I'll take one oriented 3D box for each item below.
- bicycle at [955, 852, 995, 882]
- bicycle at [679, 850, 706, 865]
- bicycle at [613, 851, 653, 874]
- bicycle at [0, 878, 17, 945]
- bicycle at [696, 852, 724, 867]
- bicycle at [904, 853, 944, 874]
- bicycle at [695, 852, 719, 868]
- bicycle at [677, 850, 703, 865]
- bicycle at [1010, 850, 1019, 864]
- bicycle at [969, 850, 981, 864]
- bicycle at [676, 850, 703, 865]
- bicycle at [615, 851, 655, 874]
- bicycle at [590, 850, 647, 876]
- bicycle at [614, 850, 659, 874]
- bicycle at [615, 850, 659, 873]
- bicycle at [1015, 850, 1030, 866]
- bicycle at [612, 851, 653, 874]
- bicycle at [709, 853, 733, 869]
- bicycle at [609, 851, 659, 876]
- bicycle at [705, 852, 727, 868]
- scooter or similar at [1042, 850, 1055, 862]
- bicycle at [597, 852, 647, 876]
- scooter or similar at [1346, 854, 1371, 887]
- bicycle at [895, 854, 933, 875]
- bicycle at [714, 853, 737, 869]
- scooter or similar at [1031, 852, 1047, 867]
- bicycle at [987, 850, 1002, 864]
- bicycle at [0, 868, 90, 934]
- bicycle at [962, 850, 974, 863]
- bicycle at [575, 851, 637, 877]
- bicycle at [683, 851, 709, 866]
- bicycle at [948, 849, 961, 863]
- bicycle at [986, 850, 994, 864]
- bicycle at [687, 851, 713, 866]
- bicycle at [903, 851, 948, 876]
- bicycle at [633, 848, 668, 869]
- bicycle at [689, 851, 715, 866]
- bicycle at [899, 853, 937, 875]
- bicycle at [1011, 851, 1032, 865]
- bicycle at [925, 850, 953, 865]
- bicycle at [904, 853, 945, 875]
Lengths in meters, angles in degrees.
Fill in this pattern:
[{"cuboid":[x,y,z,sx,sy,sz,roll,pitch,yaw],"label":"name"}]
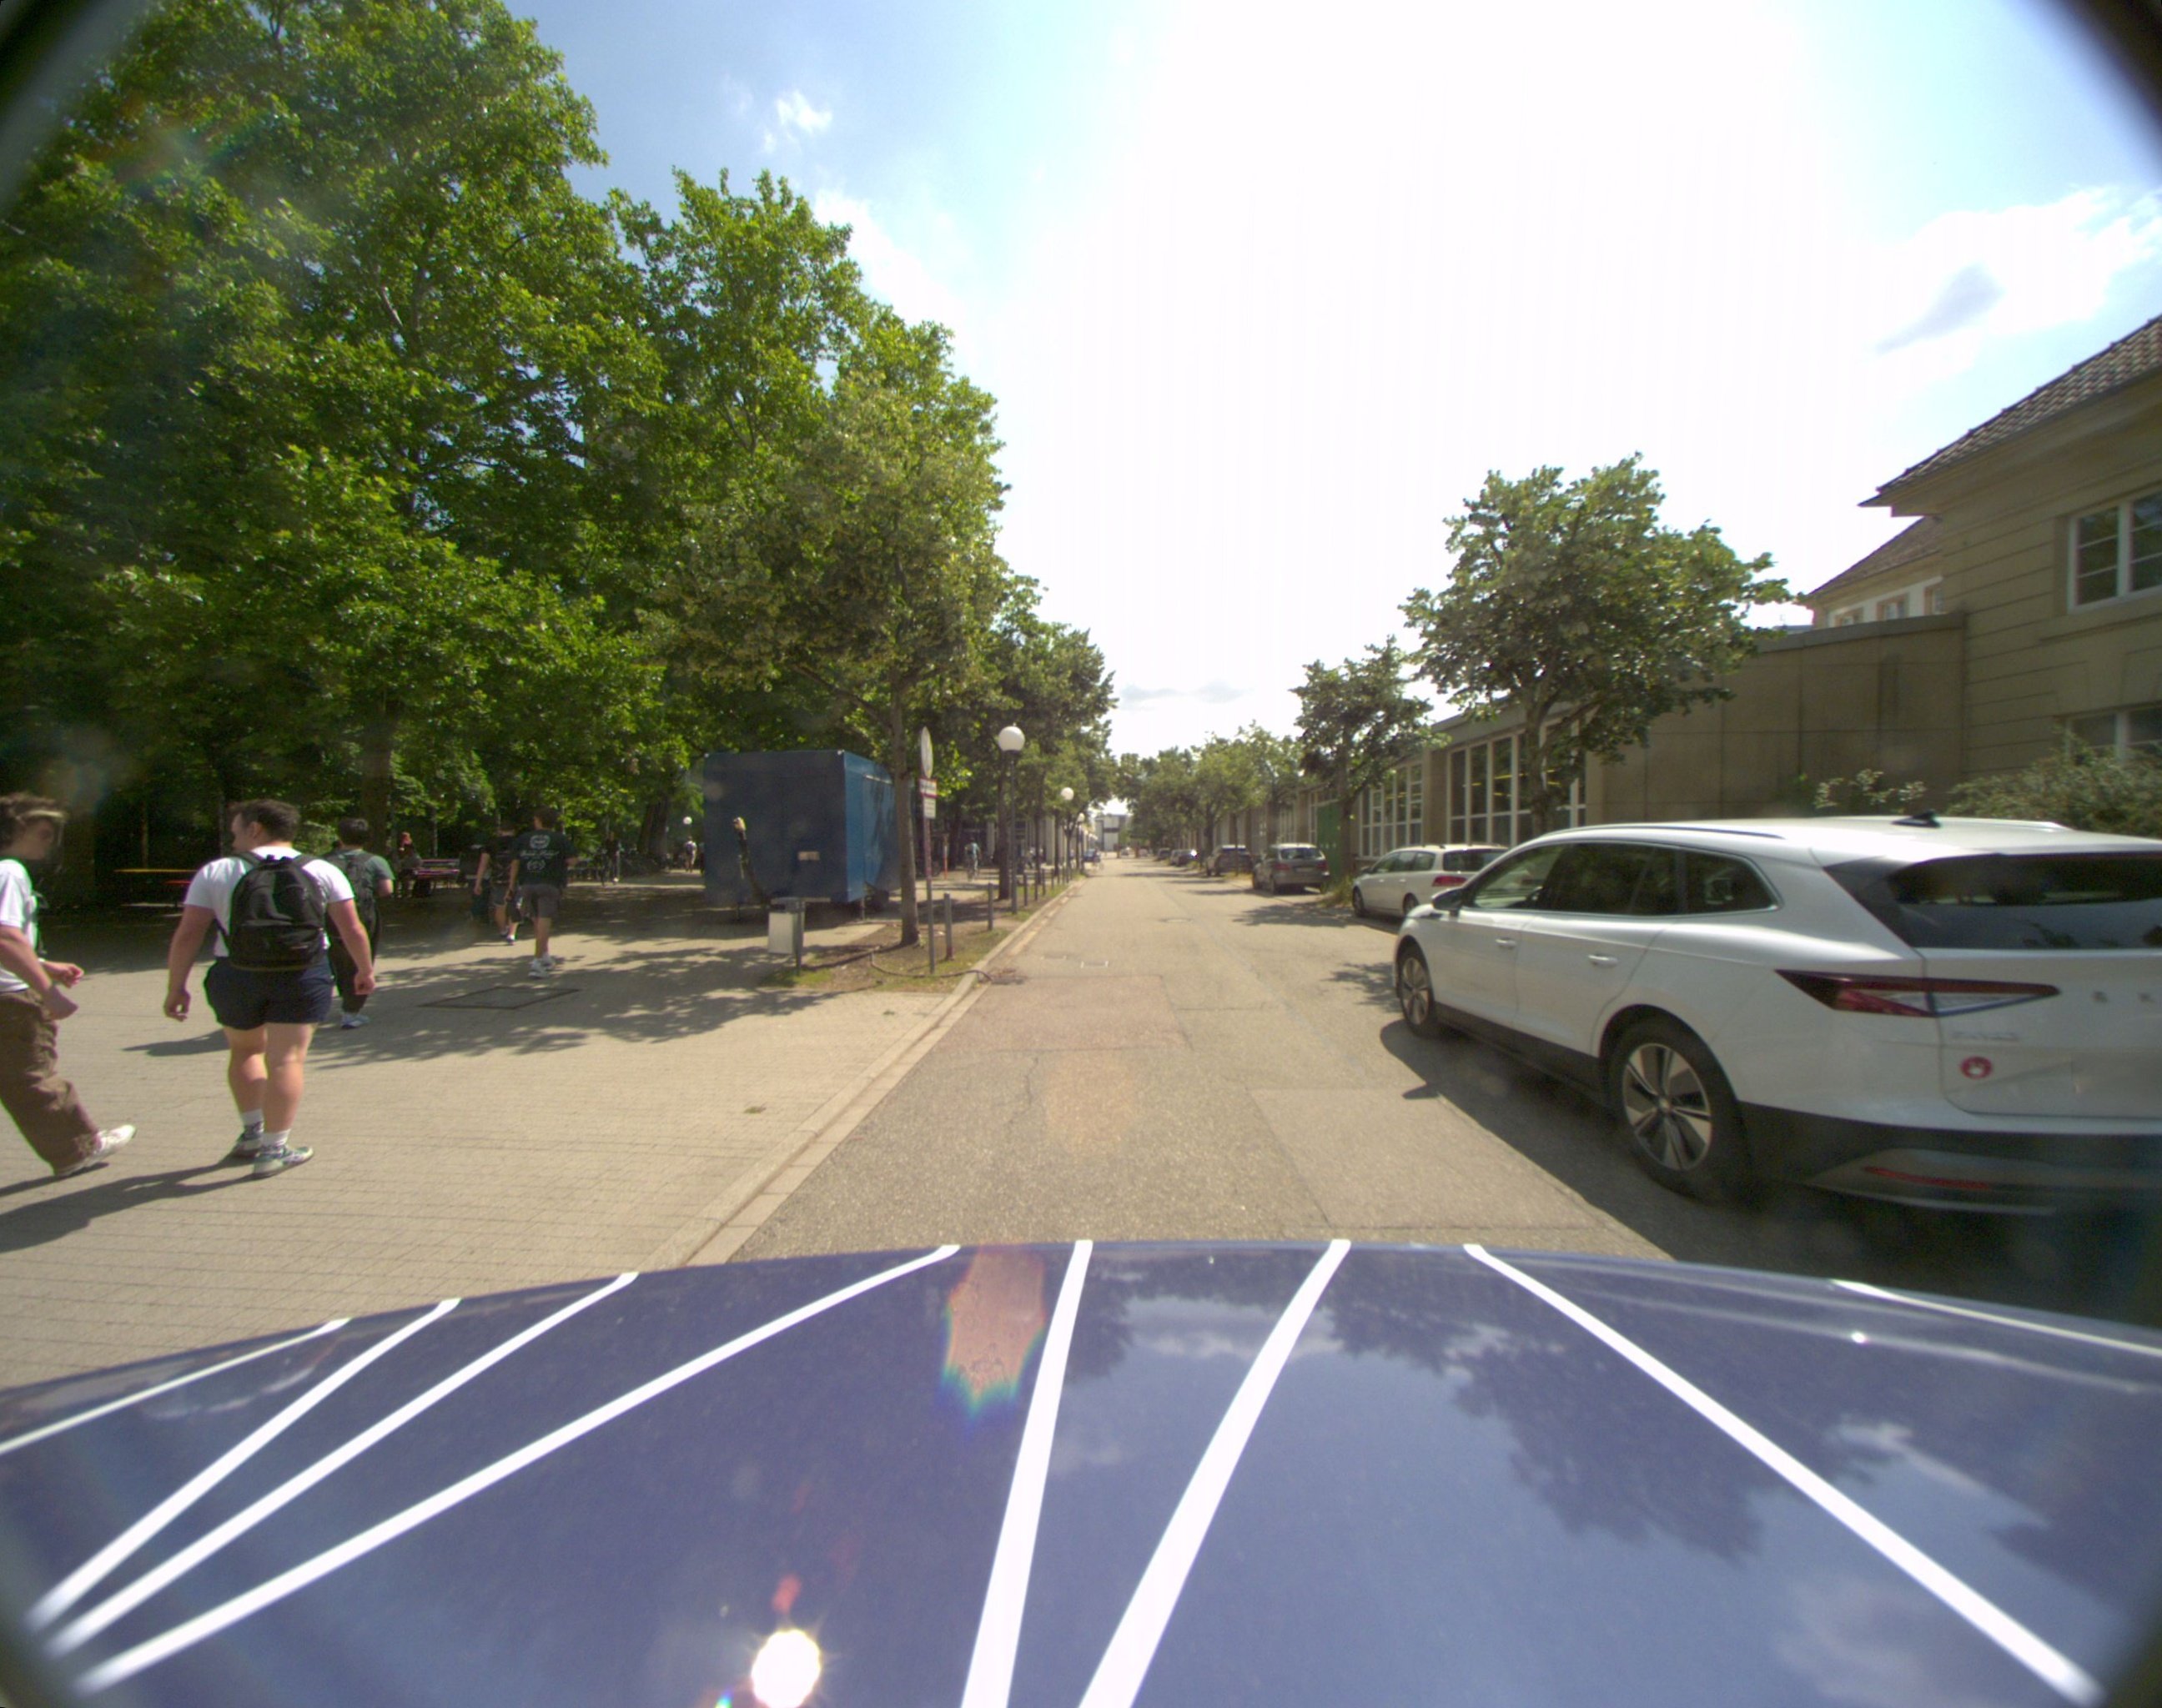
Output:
[{"cuboid":[-4.296,0.501,30.945,0.651,1.117,2.299,3,1,17],"label":"bicycle"},{"cuboid":[-29.408,0.283,57.509,0.477,1.077,1.691,-3,0,42],"label":"bicycle"},{"cuboid":[-21.377,0.400,36.250,1.612,1.087,0.347,1,1,-16],"label":"bicycle"},{"cuboid":[-18.555,0.932,12.162,2.400,1.066,0.783,0,2,10],"label":"bicycle"},{"cuboid":[-26.894,0.401,55.130,1.691,1.077,0.477,-2,0,-43],"label":"bicycle"},{"cuboid":[-7.900,0.468,38.196,1.950,1.076,0.404,0,1,-9],"label":"bicycle"},{"cuboid":[-26.777,0.405,54.418,0.352,1.077,1.475,-3,0,32],"label":"bicycle"},{"cuboid":[-30.187,0.250,58.669,0.477,1.077,1.691,-3,0,42],"label":"bicycle"},{"cuboid":[-5.418,0.259,62.152,0.561,1.135,1.489,2,1,0],"label":"bicycle"},{"cuboid":[-8.736,0.244,62.664,0.481,1.079,1.516,2,-1,8],"label":"bicycle"},{"cuboid":[-29.781,0.267,57.832,0.477,1.077,1.691,-3,0,42],"label":"bicycle"},{"cuboid":[-21.478,0.395,36.596,1.612,1.087,0.347,1,1,-16],"label":"bicycle"},{"cuboid":[-18.929,0.389,31.122,1.961,1.033,0.434,1,1,-16],"label":"bicycle"},{"cuboid":[-20.720,0.369,35.418,1.755,1.087,0.477,1,1,-23],"label":"bicycle"},{"cuboid":[-20.859,0.364,35.737,1.755,1.087,0.477,1,1,-23],"label":"bicycle"},{"cuboid":[-4.326,0.312,55.839,0.629,1.078,1.684,-2,4,-20],"label":"bicycle"},{"cuboid":[-21.390,0.399,36.245,1.612,1.087,0.347,1,1,-16],"label":"bicycle"},{"cuboid":[-25.530,0.462,53.923,0.352,1.077,1.475,-3,0,44],"label":"bicycle"},{"cuboid":[-18.982,0.415,32.268,1.786,1.033,0.434,1,1,-18],"label":"bicycle"},{"cuboid":[-26.216,0.432,54.624,0.352,1.077,1.474,-3,0,29],"label":"bicycle"},{"cuboid":[-3.439,0.197,80.065,0.566,1.205,1.506,-2,4,-37],"label":"scooter or similar"},{"cuboid":[-19.818,0.432,32.839,1.786,1.033,0.478,1,1,-18],"label":"bicycle"},{"cuboid":[10.100,0.579,27.661,0.506,1.162,1.215,-2,1,3],"label":"scooter or similar"},{"cuboid":[-8.582,0.529,39.091,1.915,1.053,0.325,0,1,-20],"label":"bicycle"},{"cuboid":[-24.711,0.467,52.829,0.352,1.077,1.475,-3,0,36],"label":"bicycle"},{"cuboid":[-3.109,0.398,56.293,0.496,1.107,1.365,1,-1,28],"label":"scooter or similar"},{"cuboid":[-7.084,0.252,62.201,0.491,1.134,1.529,1,-1,22],"label":"bicycle"},{"cuboid":[-18.758,0.816,13.327,2.399,1.066,0.784,-1,1,15],"label":"bicycle"},{"cuboid":[-9.243,0.220,62.403,0.481,1.079,1.698,2,-1,8],"label":"bicycle"},{"cuboid":[-18.628,0.400,29.840,1.961,0.973,0.612,1,1,-16],"label":"bicycle"},{"cuboid":[-28.994,0.299,57.276,0.477,1.077,1.691,-3,0,35],"label":"bicycle"},{"cuboid":[-10.424,0.203,62.633,0.565,1.118,1.698,2,-1,8],"label":"bicycle"},{"cuboid":[-7.492,0.259,62.812,0.460,1.079,1.441,2,-1,1],"label":"bicycle"},{"cuboid":[-28.597,0.317,56.998,0.477,1.077,1.691,-3,0,35],"label":"bicycle"},{"cuboid":[-7.278,0.456,35.539,2.021,1.160,0.651,0,1,-9],"label":"bicycle"},{"cuboid":[-23.353,0.236,41.198,1.613,1.087,0.477,1,1,-26],"label":"bicycle"},{"cuboid":[-28.088,0.340,56.325,0.477,1.077,1.691,-3,0,35],"label":"bicycle"},{"cuboid":[-7.840,0.480,36.675,1.773,1.076,0.438,0,1,-9],"label":"bicycle"},{"cuboid":[-4.811,0.300,61.386,0.604,1.135,1.790,3,2,36],"label":"bicycle"},{"cuboid":[-10.530,0.262,56.270,1.928,1.103,0.631,-1,2,-34],"label":"bicycle"},{"cuboid":[-7.624,0.490,37.089,1.950,1.076,0.404,0,1,-9],"label":"bicycle"}]
